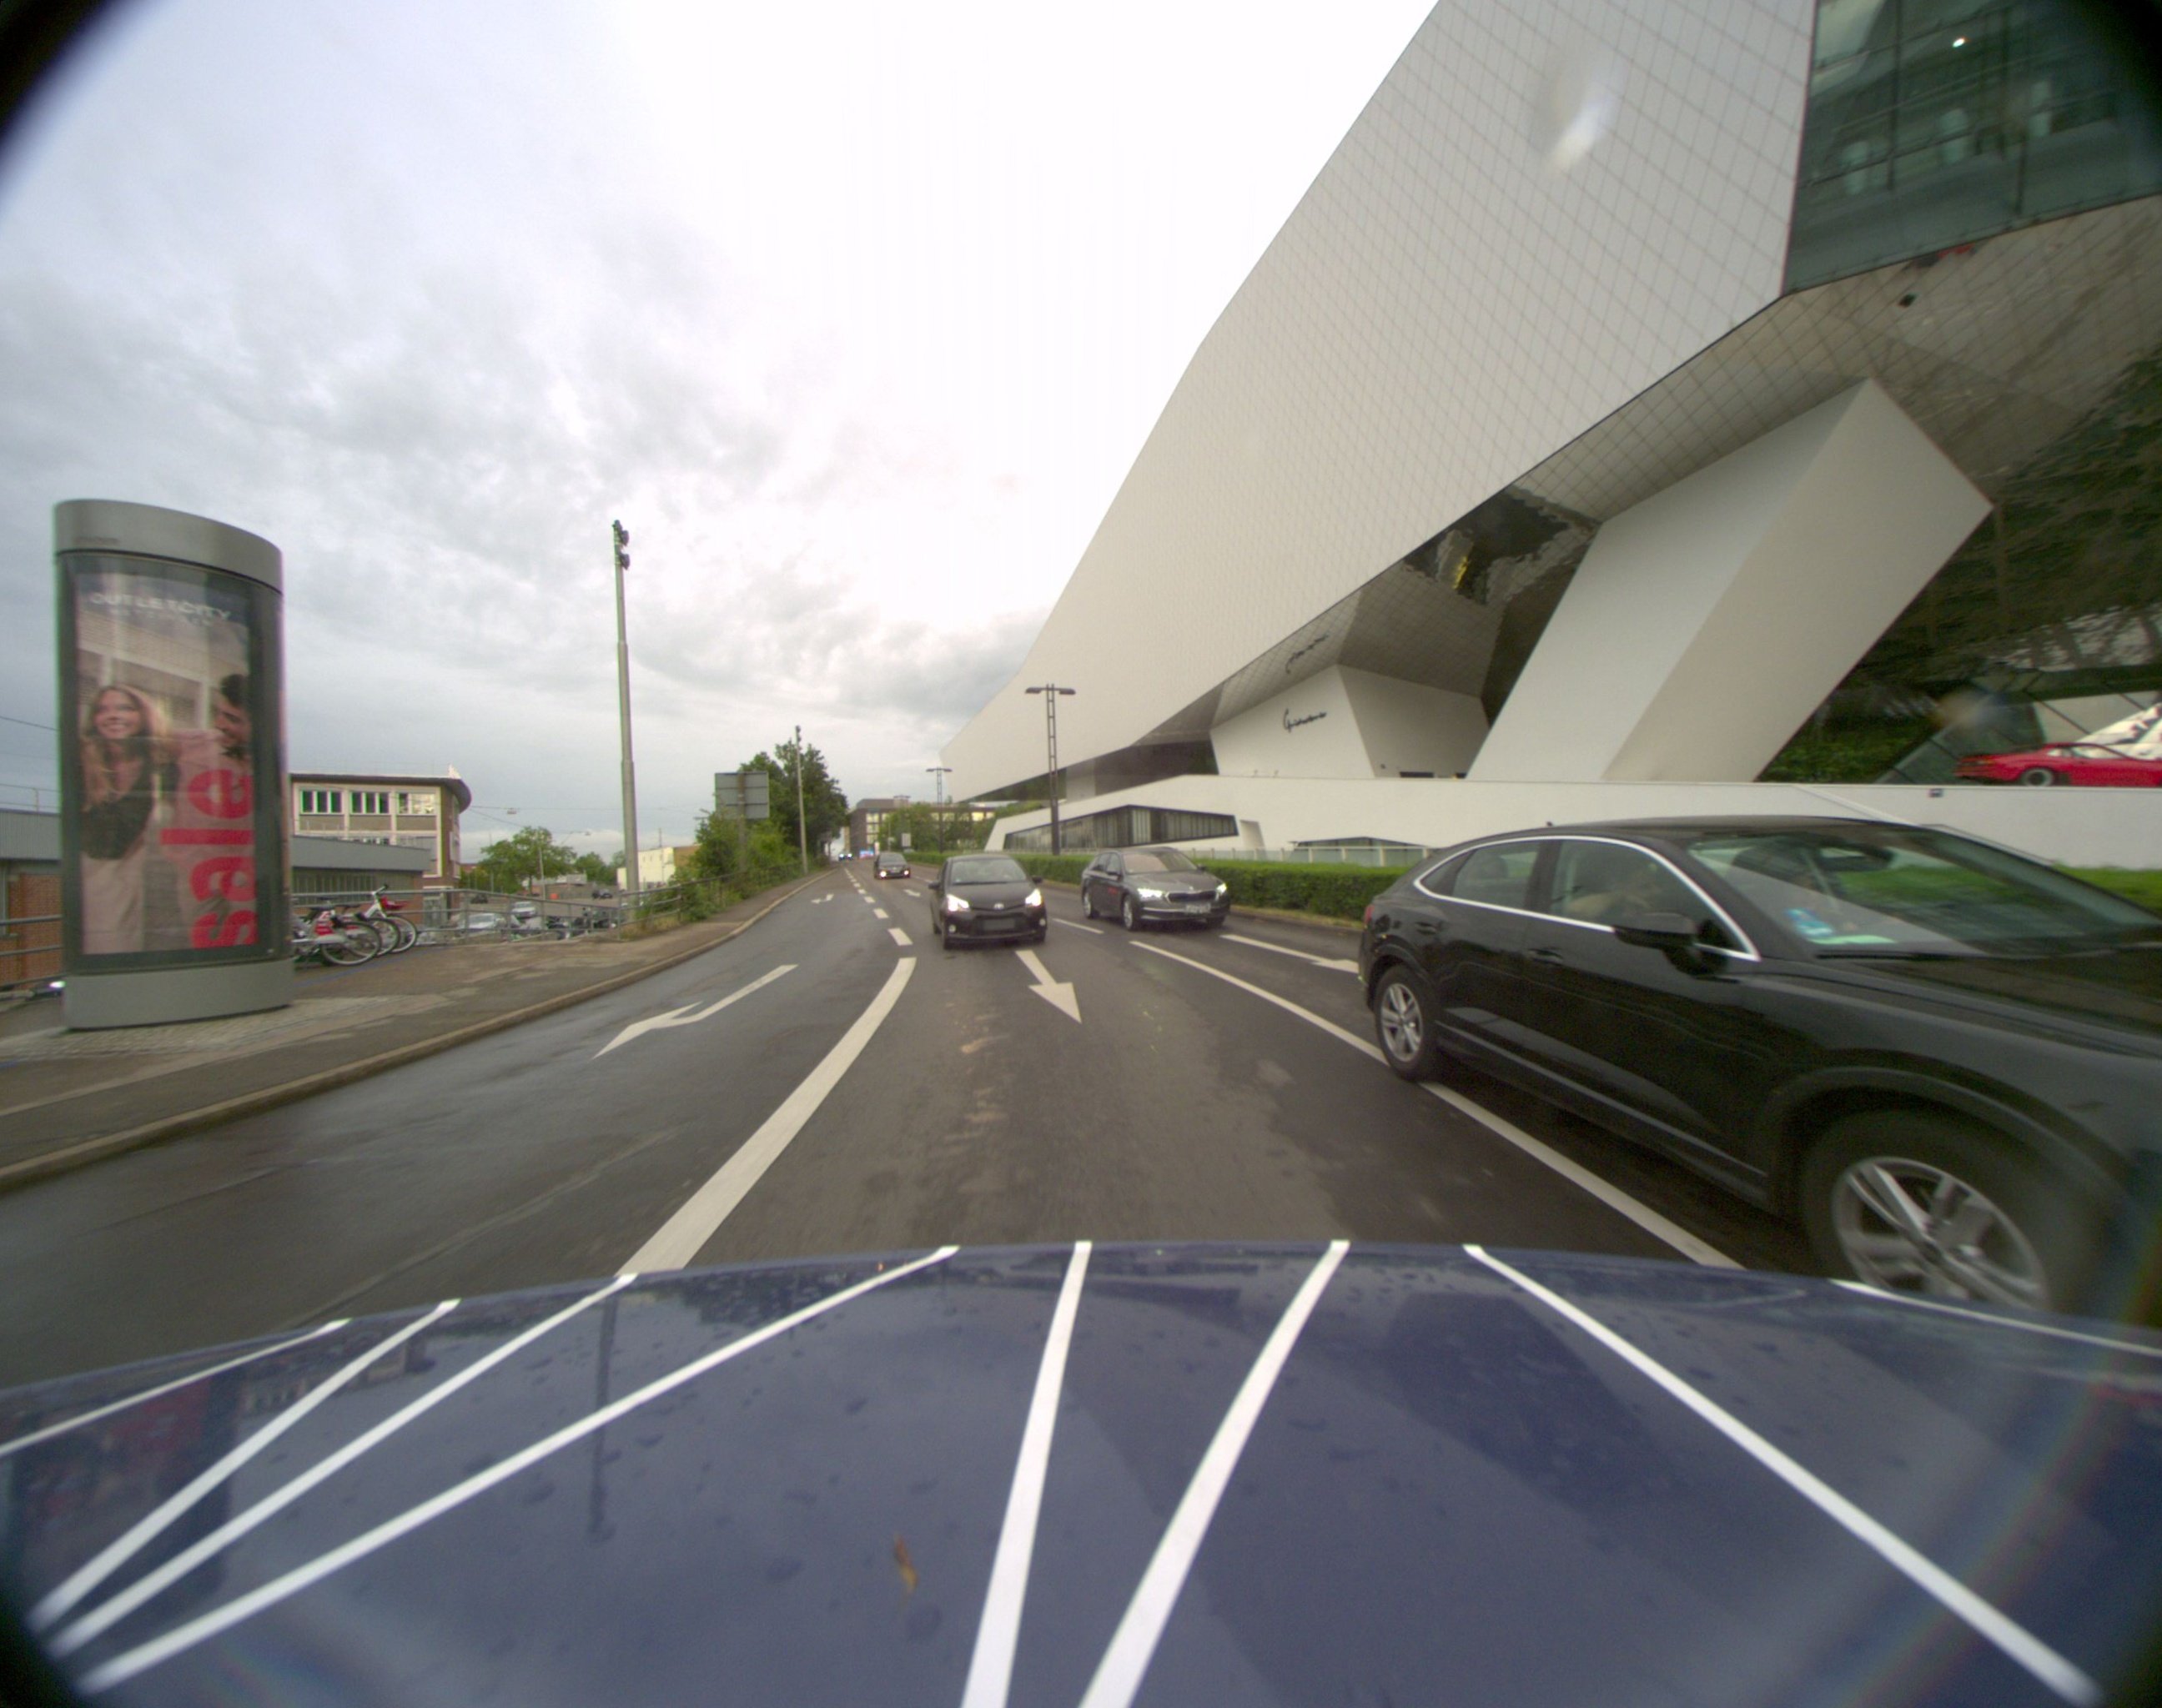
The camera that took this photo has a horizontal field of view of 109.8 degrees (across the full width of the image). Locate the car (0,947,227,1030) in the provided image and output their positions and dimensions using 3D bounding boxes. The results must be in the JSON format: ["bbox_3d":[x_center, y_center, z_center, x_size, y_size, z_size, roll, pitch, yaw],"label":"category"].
[{"bbox_3d":[-25.284,3.440,20.046,1.722,1.417,3.995,-3,0,-16],"label":"car"}]

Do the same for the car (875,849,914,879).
[{"bbox_3d":[-10.628,0.530,43.123,1.751,1.466,4.062,-4,2,-18],"label":"car"}]

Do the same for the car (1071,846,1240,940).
[{"bbox_3d":[1.247,0.622,14.718,1.819,1.430,4.296,-4,2,-14],"label":"car"}]

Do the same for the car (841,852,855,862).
[{"bbox_3d":[-37.876,0.528,123.316,1.820,1.430,4.295,-2,-1,-22],"label":"car"}]

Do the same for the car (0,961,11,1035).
[{"bbox_3d":[-23.236,3.073,13.857,1.891,1.542,4.502,-3,0,-17],"label":"car"}]

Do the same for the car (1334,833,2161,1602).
[{"bbox_3d":[2.891,0.714,3.163,1.757,1.509,4.391,-3,1,-6],"label":"car"}]

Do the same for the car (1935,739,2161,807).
[{"bbox_3d":[25.512,-2.072,19.504,4.232,1.377,2.003,6,4,27],"label":"car"}]

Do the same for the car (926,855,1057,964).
[{"bbox_3d":[-1.739,0.832,13.525,1.695,1.499,4.005,-3,1,-15],"label":"car"}]

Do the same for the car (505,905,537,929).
[{"bbox_3d":[-40.253,4.488,54.606,1.724,1.417,4.218,-3,0,-37],"label":"car"}]

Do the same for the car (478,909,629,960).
[{"bbox_3d":[-18.519,2.818,26.806,3.998,1.417,1.720,-3,0,-2],"label":"car"}]

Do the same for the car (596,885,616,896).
[{"bbox_3d":[-67.291,5.104,107.590,1.724,1.417,3.990,-3,0,-41],"label":"car"}]

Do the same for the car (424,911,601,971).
[{"bbox_3d":[-17.298,2.622,23.254,3.998,1.417,1.720,-3,0,-2],"label":"car"}]

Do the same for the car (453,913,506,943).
[{"bbox_3d":[-35.206,4.299,44.570,1.736,1.381,3.992,-3,0,-29],"label":"car"}]

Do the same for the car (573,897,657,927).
[{"bbox_3d":[-27.552,3.392,45.047,4.004,1.417,1.717,-3,0,-25],"label":"car"}]

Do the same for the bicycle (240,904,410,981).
[{"bbox_3d":[-11.130,1.273,11.249,0.485,0.916,1.708,0,2,38],"label":"bicycle"}]

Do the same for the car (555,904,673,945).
[{"bbox_3d":[-20.334,3.059,33.201,3.998,1.417,1.720,-3,0,-2],"label":"car"}]

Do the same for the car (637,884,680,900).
[{"bbox_3d":[-46.014,4.087,82.748,4.006,1.417,1.717,-3,0,-31],"label":"car"}]

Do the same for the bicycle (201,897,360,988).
[{"bbox_3d":[-11.044,1.182,10.535,0.442,1.068,1.465,2,3,43],"label":"bicycle"}]

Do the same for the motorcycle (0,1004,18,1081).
[{"bbox_3d":[-14.112,2.395,9.042,1.618,0.917,0.481,-4,2,-24],"label":"motorcycle"}]

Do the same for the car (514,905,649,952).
[{"bbox_3d":[-19.393,2.878,29.633,3.998,1.417,1.720,-3,0,-2],"label":"car"}]

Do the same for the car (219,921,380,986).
[{"bbox_3d":[-27.290,3.414,26.784,1.785,1.657,4.500,-3,0,-14],"label":"car"}]

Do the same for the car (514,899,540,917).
[{"bbox_3d":[-49.535,4.787,67.926,1.724,1.417,3.990,-3,0,-37],"label":"car"}]

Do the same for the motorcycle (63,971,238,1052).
[{"bbox_3d":[-14.393,2.416,11.806,1.618,0.917,0.420,-4,2,-29],"label":"motorcycle"}]

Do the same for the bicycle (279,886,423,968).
[{"bbox_3d":[-11.479,1.118,12.007,1.547,1.149,0.450,-1,2,-34],"label":"bicycle"}]
